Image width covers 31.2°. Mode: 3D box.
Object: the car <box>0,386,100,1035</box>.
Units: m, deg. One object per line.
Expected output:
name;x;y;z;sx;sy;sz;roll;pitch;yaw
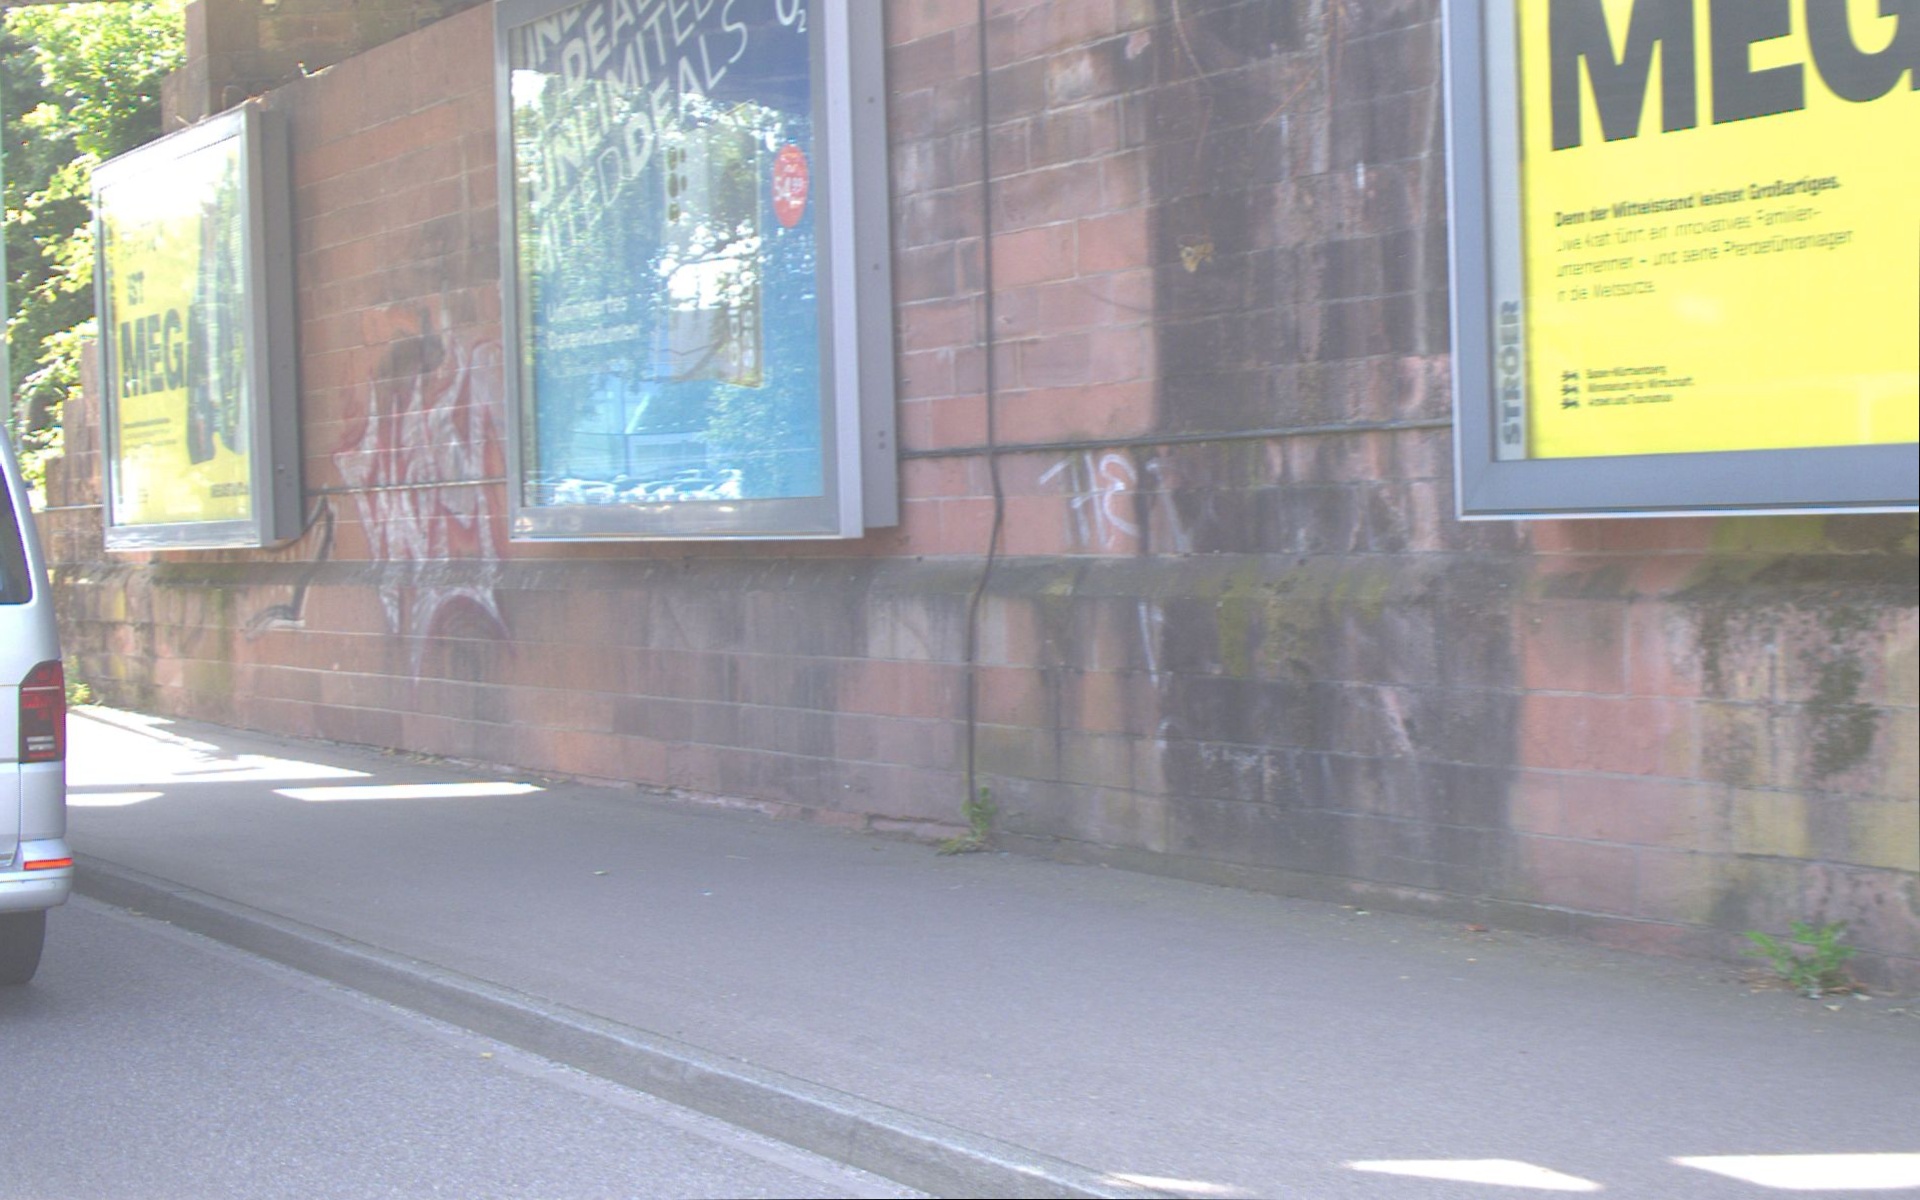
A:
car;-4.705;0.294;12.273;1.941;1.964;5.022;-1;1;-29
